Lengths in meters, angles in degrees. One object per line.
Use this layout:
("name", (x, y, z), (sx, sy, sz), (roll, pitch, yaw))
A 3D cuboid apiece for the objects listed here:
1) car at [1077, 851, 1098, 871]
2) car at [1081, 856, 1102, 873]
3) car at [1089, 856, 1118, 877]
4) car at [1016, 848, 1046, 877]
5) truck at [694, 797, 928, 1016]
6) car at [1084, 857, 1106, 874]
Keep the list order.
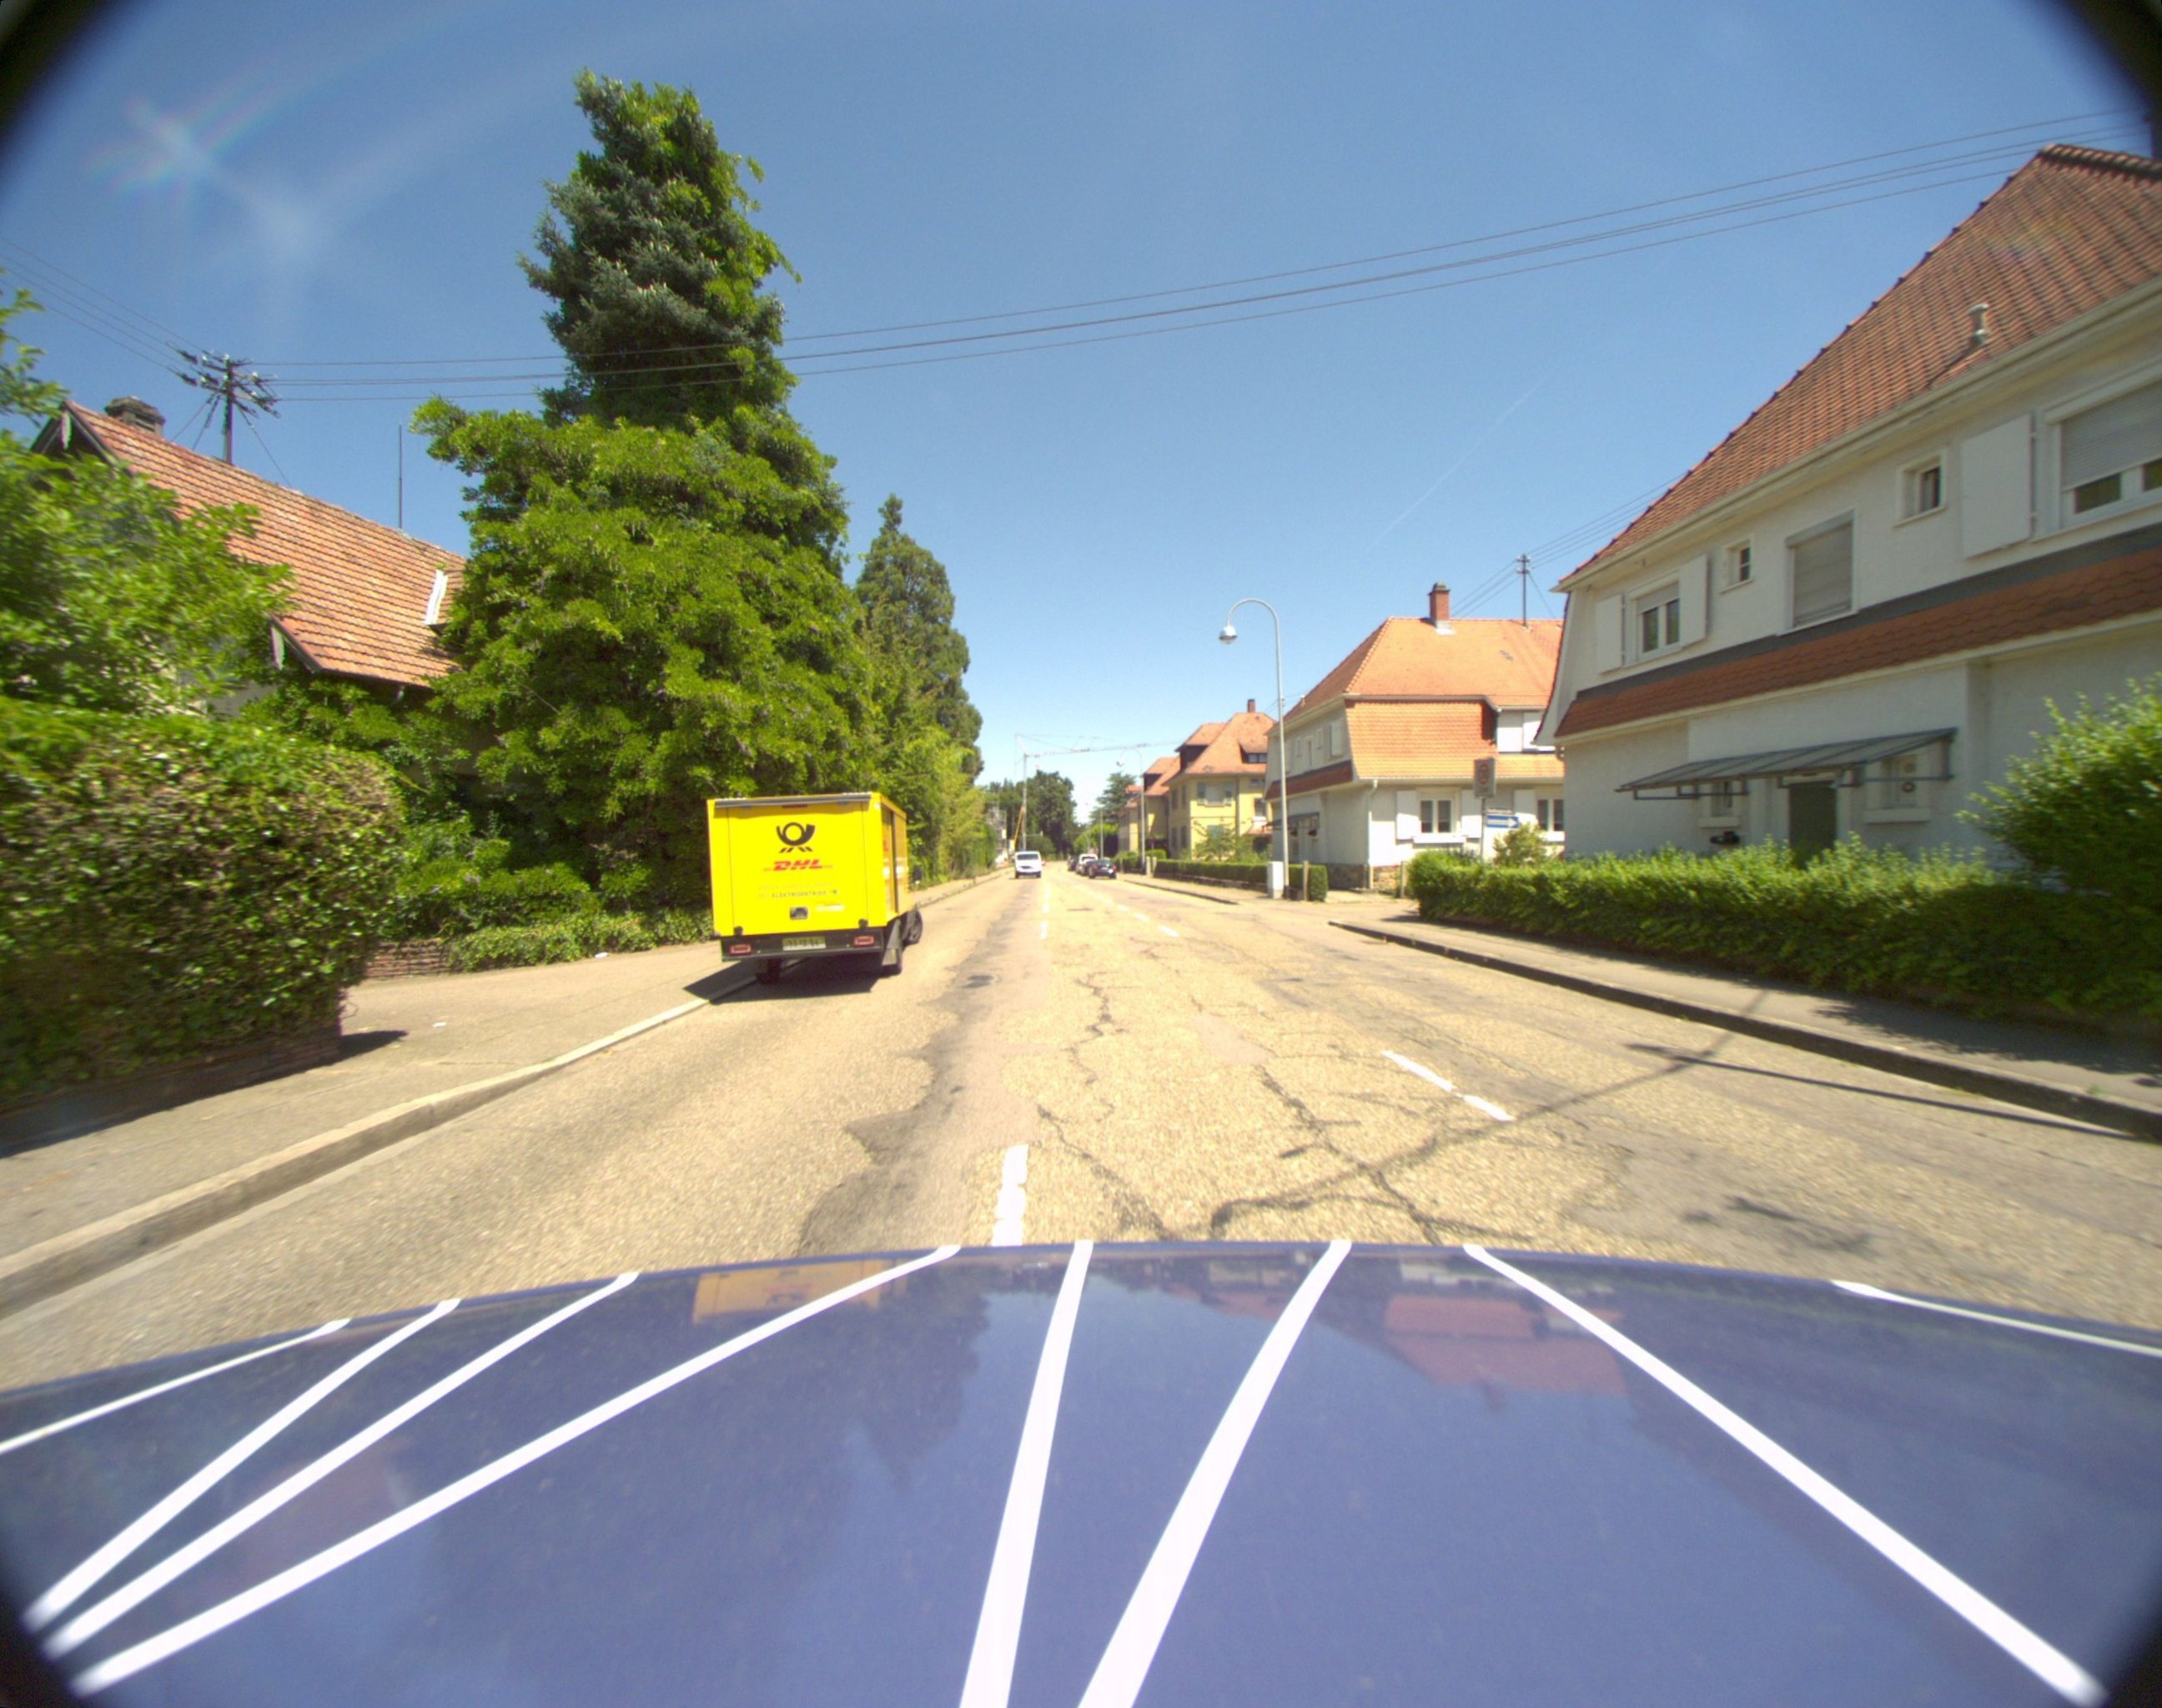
("car", (0.607, 0.648, 73.425), (1.754, 1.885, 3.999), (0, 0, -3))
("car", (0.913, 0.942, 68.646), (1.754, 1.427, 3.999), (0, 0, -2))
("car", (1.559, 0.854, 54.096), (1.754, 1.390, 3.999), (1, 0, -3))
("car", (-3.731, 0.593, 57.009), (1.999, 2.002, 4.385), (-2, 0, -2))
("truck", (-3.497, 0.556, 11.233), (2.020, 2.295, 6.171), (-1, 0, -8))
("car", (1.128, 0.923, 63.010), (1.754, 1.390, 4.000), (0, 0, -1))
